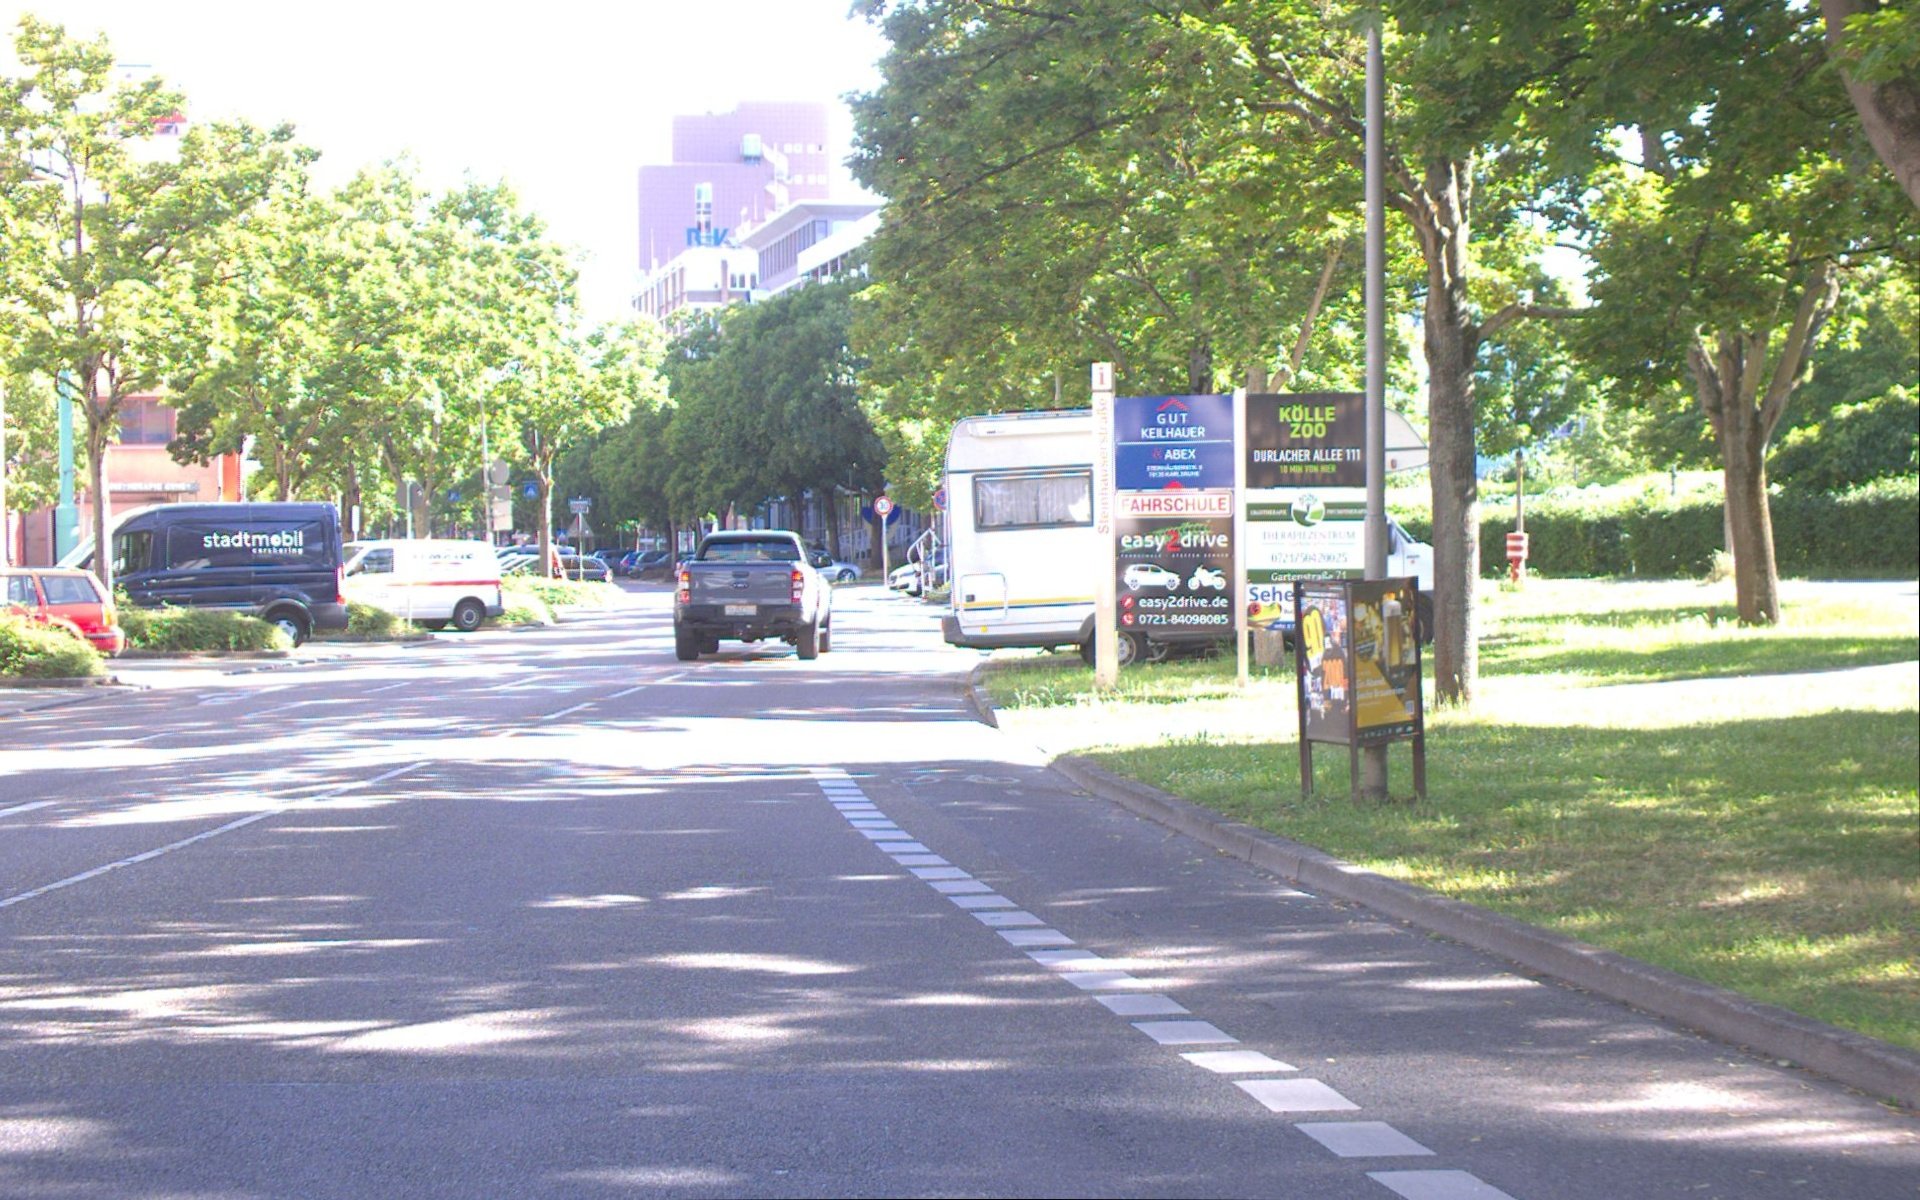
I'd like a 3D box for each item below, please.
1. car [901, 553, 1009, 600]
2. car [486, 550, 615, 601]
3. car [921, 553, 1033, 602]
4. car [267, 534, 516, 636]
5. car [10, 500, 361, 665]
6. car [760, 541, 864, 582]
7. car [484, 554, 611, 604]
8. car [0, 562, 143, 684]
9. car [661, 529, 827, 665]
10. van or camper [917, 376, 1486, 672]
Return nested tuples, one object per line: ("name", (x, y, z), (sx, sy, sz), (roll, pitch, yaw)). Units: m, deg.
("car", (-0.162, -0.738, 106.319), (3.244, 1.273, 1.516), (-3, 1, -1))
("car", (-12.702, -0.751, 106.545), (3.882, 1.360, 1.410), (-3, 1, -8))
("car", (0.492, -0.668, 102.119), (3.244, 1.273, 1.516), (-3, 1, -1))
("car", (-12.288, -0.337, 74.415), (4.884, 2.076, 1.985), (-2, 1, -34))
("car", (-12.656, -0.314, 56.236), (5.260, 2.537, 1.986), (-2, 1, -24))
("car", (-5.890, -1.543, 136.589), (3.946, 1.392, 1.517), (-3, 1, -8))
("car", (-12.995, -0.666, 108.299), (3.882, 1.360, 1.410), (-3, 1, -8))
("car", (-13.249, 0.326, 45.528), (4.406, 1.547, 1.922), (-2, 1, -24))
("car", (-3.067, -0.095, 49.850), (2.133, 1.829, 4.941), (-1, 1, -1))
("van or camper", (2.643, -0.851, 38.939), (6.079, 2.918, 2.575), (-3, 1, 0))
